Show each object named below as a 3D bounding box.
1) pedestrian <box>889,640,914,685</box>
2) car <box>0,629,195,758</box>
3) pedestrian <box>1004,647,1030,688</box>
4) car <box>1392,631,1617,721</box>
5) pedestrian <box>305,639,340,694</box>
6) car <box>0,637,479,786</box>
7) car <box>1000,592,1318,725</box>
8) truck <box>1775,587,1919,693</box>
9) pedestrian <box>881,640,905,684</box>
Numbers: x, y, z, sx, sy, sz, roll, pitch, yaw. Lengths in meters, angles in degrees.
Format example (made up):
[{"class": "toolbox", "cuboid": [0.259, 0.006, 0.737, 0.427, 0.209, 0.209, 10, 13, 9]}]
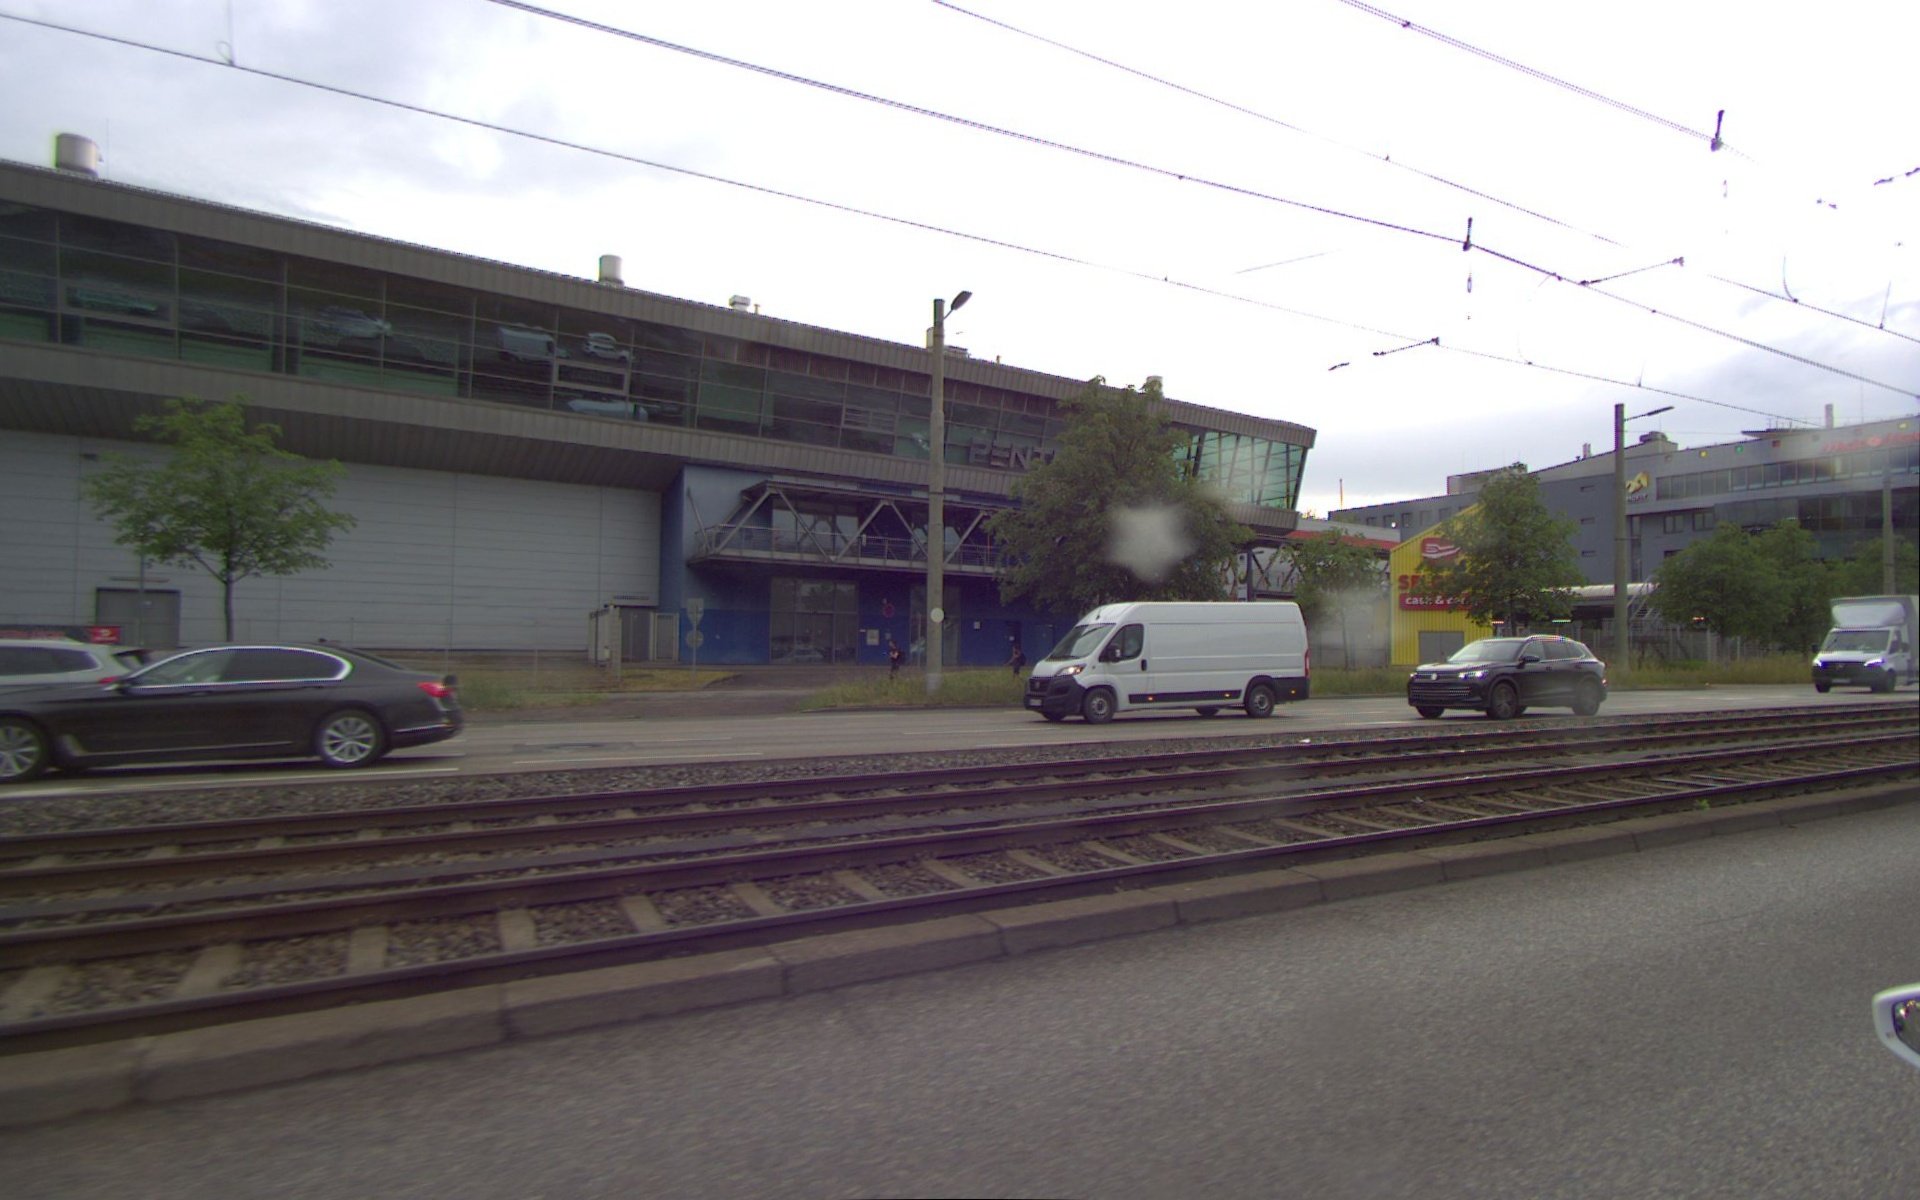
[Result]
[{"class": "pedestrian", "cuboid": [-1.981, 2.110, 33.957, 0.648, 1.475, 0.506, 2, 0, -39]}, {"class": "car", "cuboid": [-13.559, 1.277, 13.825, 4.448, 1.692, 1.935, 1, -3, -26]}, {"class": "pedestrian", "cuboid": [2.073, 2.436, 36.541, 0.737, 1.458, 0.604, 2, 0, -33]}, {"class": "car", "cuboid": [11.166, 1.529, 20.582, 4.304, 1.678, 1.903, 1, -5, -27]}, {"class": "pedestrian", "cuboid": [-18.004, 1.881, 28.372, 0.748, 1.517, 0.547, 2, 0, -26]}, {"class": "car", "cuboid": [-8.471, 1.206, 11.850, 4.924, 1.504, 1.943, 1, -3, -24]}, {"class": "car", "cuboid": [4.291, 1.259, 21.614, 6.454, 2.532, 2.428, 1, -5, -23]}, {"class": "truck", "cuboid": [32.083, 1.458, 35.417, 7.067, 3.400, 2.716, 1, -4, -30]}, {"class": "pedestrian", "cuboid": [-2.304, 2.106, 34.449, 0.648, 1.475, 0.447, 2, 0, -39]}]
